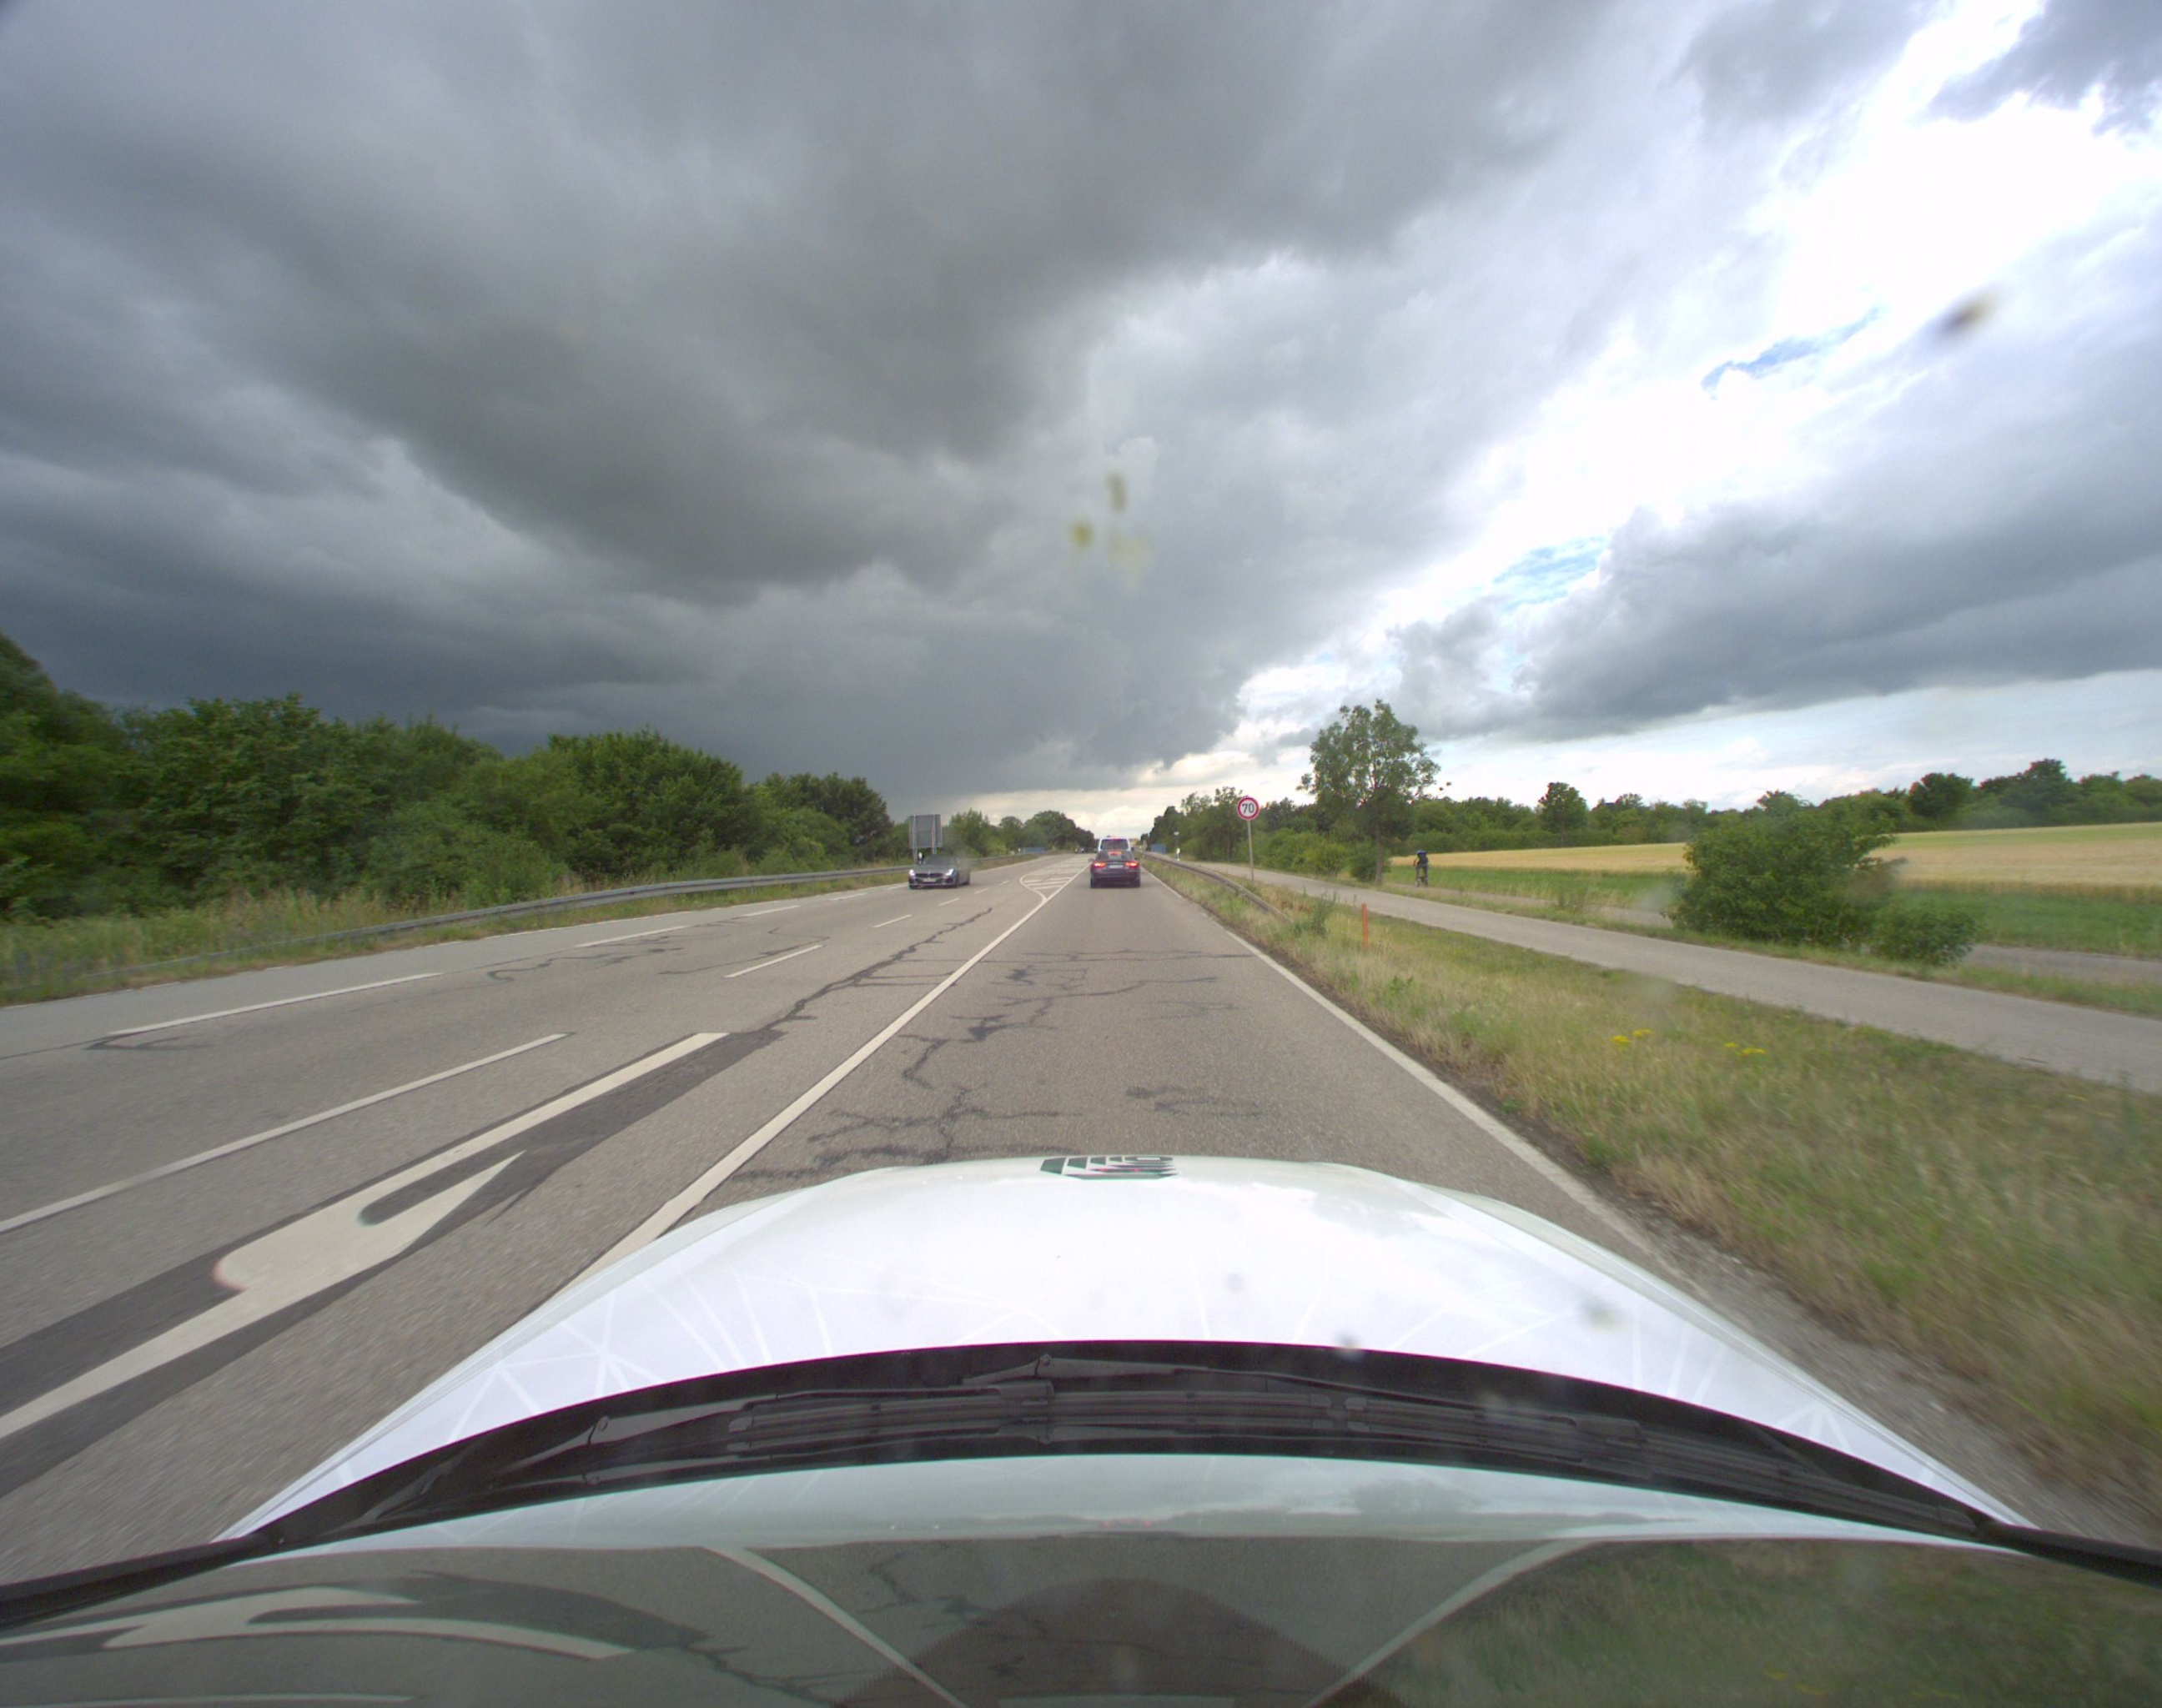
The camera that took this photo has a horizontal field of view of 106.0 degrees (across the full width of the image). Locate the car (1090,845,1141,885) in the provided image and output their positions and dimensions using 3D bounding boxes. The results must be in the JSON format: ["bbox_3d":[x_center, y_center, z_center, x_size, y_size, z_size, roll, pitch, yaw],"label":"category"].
[{"bbox_3d":[1.297,0.382,30.673,1.779,1.423,4.002,-1,0,2],"label":"car"}]

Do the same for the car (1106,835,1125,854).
[{"bbox_3d":[4.764,-1.270,111.847,2.437,2.504,5.045,-1,1,3],"label":"car"}]

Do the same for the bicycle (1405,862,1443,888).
[{"bbox_3d":[15.608,0.923,37.136,0.653,1.138,2.832,-1,0,2],"label":"bicycle"}]

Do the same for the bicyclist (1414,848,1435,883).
[{"bbox_3d":[15.607,0.515,37.032,0.653,1.581,0.744,-1,-1,1],"label":"bicyclist"}]

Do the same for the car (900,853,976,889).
[{"bbox_3d":[-5.571,0.624,32.339,2.156,1.285,4.239,-1,0,2],"label":"car"}]

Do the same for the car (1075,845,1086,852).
[{"bbox_3d":[-0.074,-1.091,161.111,1.855,1.376,4.002,1,0,2],"label":"car"}]

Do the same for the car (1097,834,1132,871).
[{"bbox_3d":[1.770,-0.075,43.142,1.779,1.889,4.002,-1,0,2],"label":"car"}]

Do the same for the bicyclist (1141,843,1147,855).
[{"bbox_3d":[8.709,-0.644,112.588,0.644,1.645,0.867,-2,0,2],"label":"bicyclist"}]
